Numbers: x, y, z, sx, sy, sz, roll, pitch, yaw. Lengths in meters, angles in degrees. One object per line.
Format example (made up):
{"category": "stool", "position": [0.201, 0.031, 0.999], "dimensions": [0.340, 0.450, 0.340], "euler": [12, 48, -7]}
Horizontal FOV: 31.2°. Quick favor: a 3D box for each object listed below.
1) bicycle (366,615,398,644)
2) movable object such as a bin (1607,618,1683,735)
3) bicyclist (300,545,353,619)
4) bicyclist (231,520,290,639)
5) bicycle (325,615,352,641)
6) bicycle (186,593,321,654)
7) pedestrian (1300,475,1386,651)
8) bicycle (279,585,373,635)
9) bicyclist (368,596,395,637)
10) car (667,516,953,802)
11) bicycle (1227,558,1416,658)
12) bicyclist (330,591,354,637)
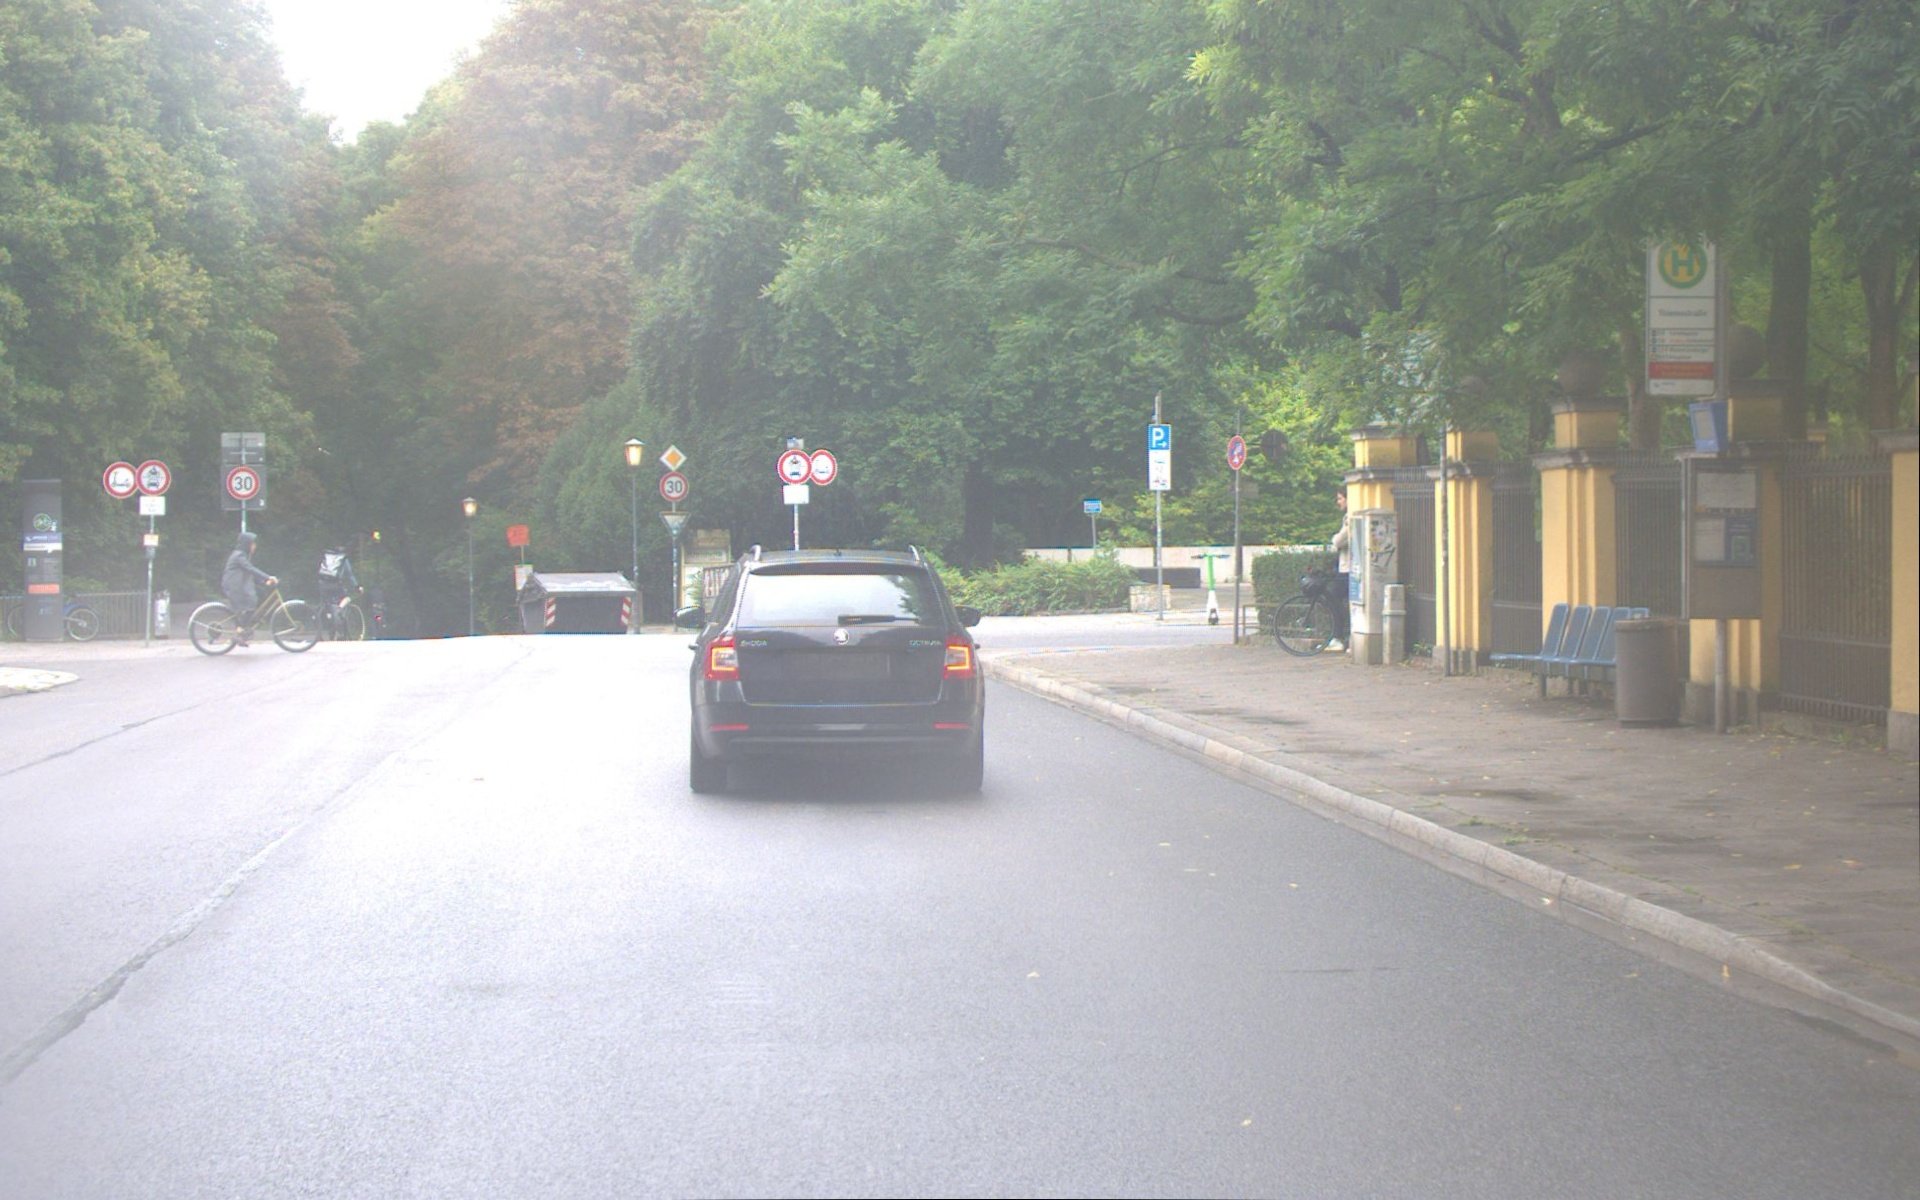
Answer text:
{"category": "bicycle", "position": [-16.965, 0.865, 100.913], "dimensions": [0.679, 0.827, 2.110], "euler": [-1, 0, -16]}
{"category": "movable object such as a bin", "position": [4.724, 0.523, 23.712], "dimensions": [0.396, 0.778, 0.465], "euler": [-1, 1, -3]}
{"category": "bicyclist", "position": [-11.069, -0.315, 60.072], "dimensions": [0.681, 1.278, 0.599], "euler": [-1, 1, 19]}
{"category": "bicyclist", "position": [-9.451, -0.272, 46.433], "dimensions": [0.750, 1.579, 0.656], "euler": [-1, 0, -12]}
{"category": "bicycle", "position": [-20.546, 0.927, 113.606], "dimensions": [0.679, 0.827, 2.110], "euler": [-1, 0, -15]}
{"category": "bicycle", "position": [-9.537, 0.308, 46.410], "dimensions": [1.763, 0.794, 0.571], "euler": [-1, 0, -12]}
{"category": "pedestrian", "position": [4.244, -0.409, 38.106], "dimensions": [0.674, 1.912, 0.641], "euler": [-3, 1, -12]}
{"category": "bicycle", "position": [-11.064, 0.165, 60.072], "dimensions": [0.680, 0.827, 2.108], "euler": [-1, 0, 18]}
{"category": "bicyclist", "position": [-16.985, 0.478, 100.923], "dimensions": [0.680, 1.183, 0.481], "euler": [-2, 1, -16]}
{"category": "car", "position": [-0.938, 0.300, 21.398], "dimensions": [1.577, 1.578, 4.045], "euler": [-1, 1, -3]}
{"category": "bicycle", "position": [3.921, 0.079, 37.307], "dimensions": [1.905, 0.946, 0.582], "euler": [-4, 1, -12]}
{"category": "bicyclist", "position": [-20.433, 0.465, 113.659], "dimensions": [0.680, 1.499, 0.901], "euler": [-1, 1, -14]}
